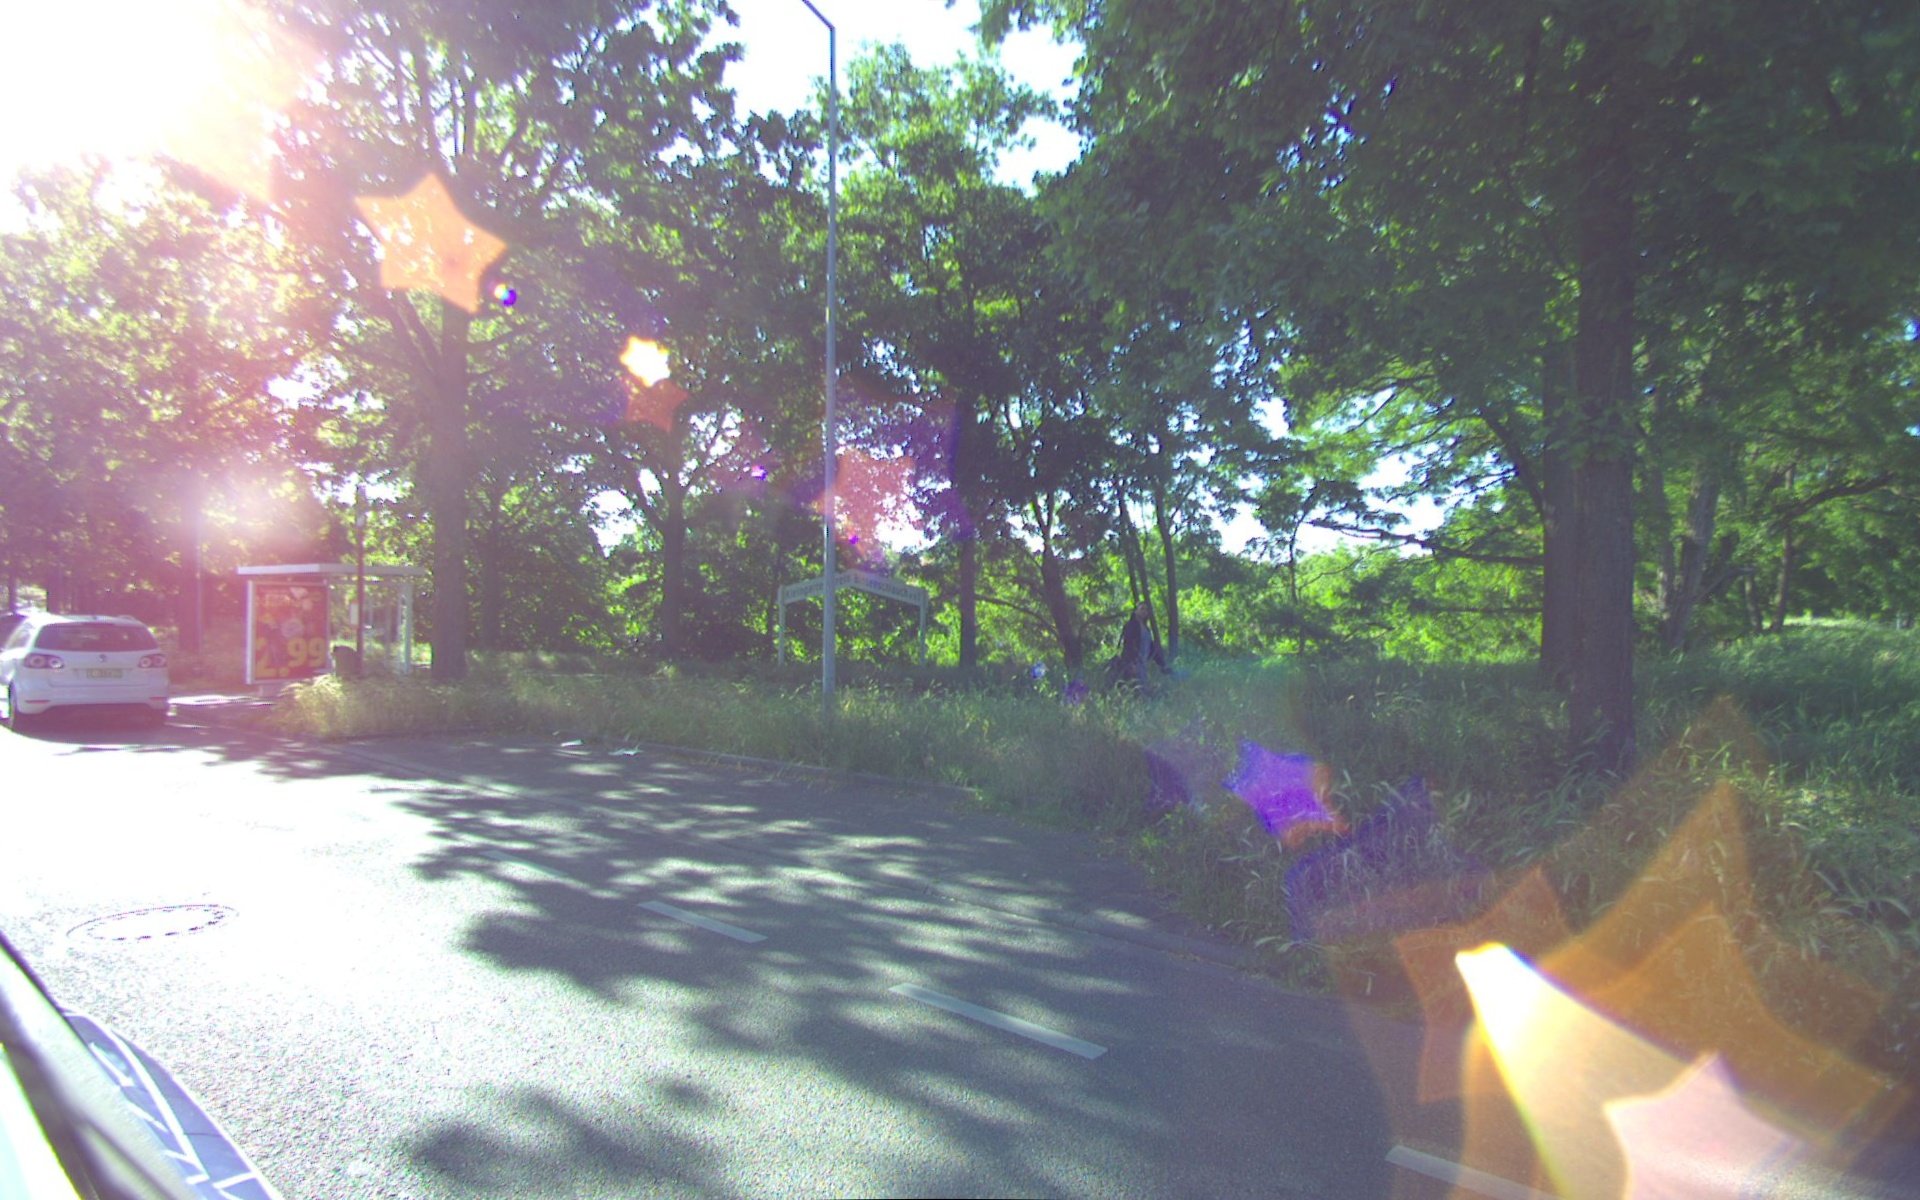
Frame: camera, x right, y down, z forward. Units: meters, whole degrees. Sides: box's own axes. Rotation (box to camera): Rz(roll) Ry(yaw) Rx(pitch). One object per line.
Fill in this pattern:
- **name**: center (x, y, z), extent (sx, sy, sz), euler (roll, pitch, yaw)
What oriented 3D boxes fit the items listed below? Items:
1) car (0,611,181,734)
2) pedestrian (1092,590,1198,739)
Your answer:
- **car**: center (-13.175, 1.017, 15.003), extent (4.117, 1.575, 1.733), euler (-2, -4, 41)
- **pedestrian**: center (2.232, 0.746, 12.196), extent (0.891, 1.701, 0.903), euler (-2, -1, 42)
